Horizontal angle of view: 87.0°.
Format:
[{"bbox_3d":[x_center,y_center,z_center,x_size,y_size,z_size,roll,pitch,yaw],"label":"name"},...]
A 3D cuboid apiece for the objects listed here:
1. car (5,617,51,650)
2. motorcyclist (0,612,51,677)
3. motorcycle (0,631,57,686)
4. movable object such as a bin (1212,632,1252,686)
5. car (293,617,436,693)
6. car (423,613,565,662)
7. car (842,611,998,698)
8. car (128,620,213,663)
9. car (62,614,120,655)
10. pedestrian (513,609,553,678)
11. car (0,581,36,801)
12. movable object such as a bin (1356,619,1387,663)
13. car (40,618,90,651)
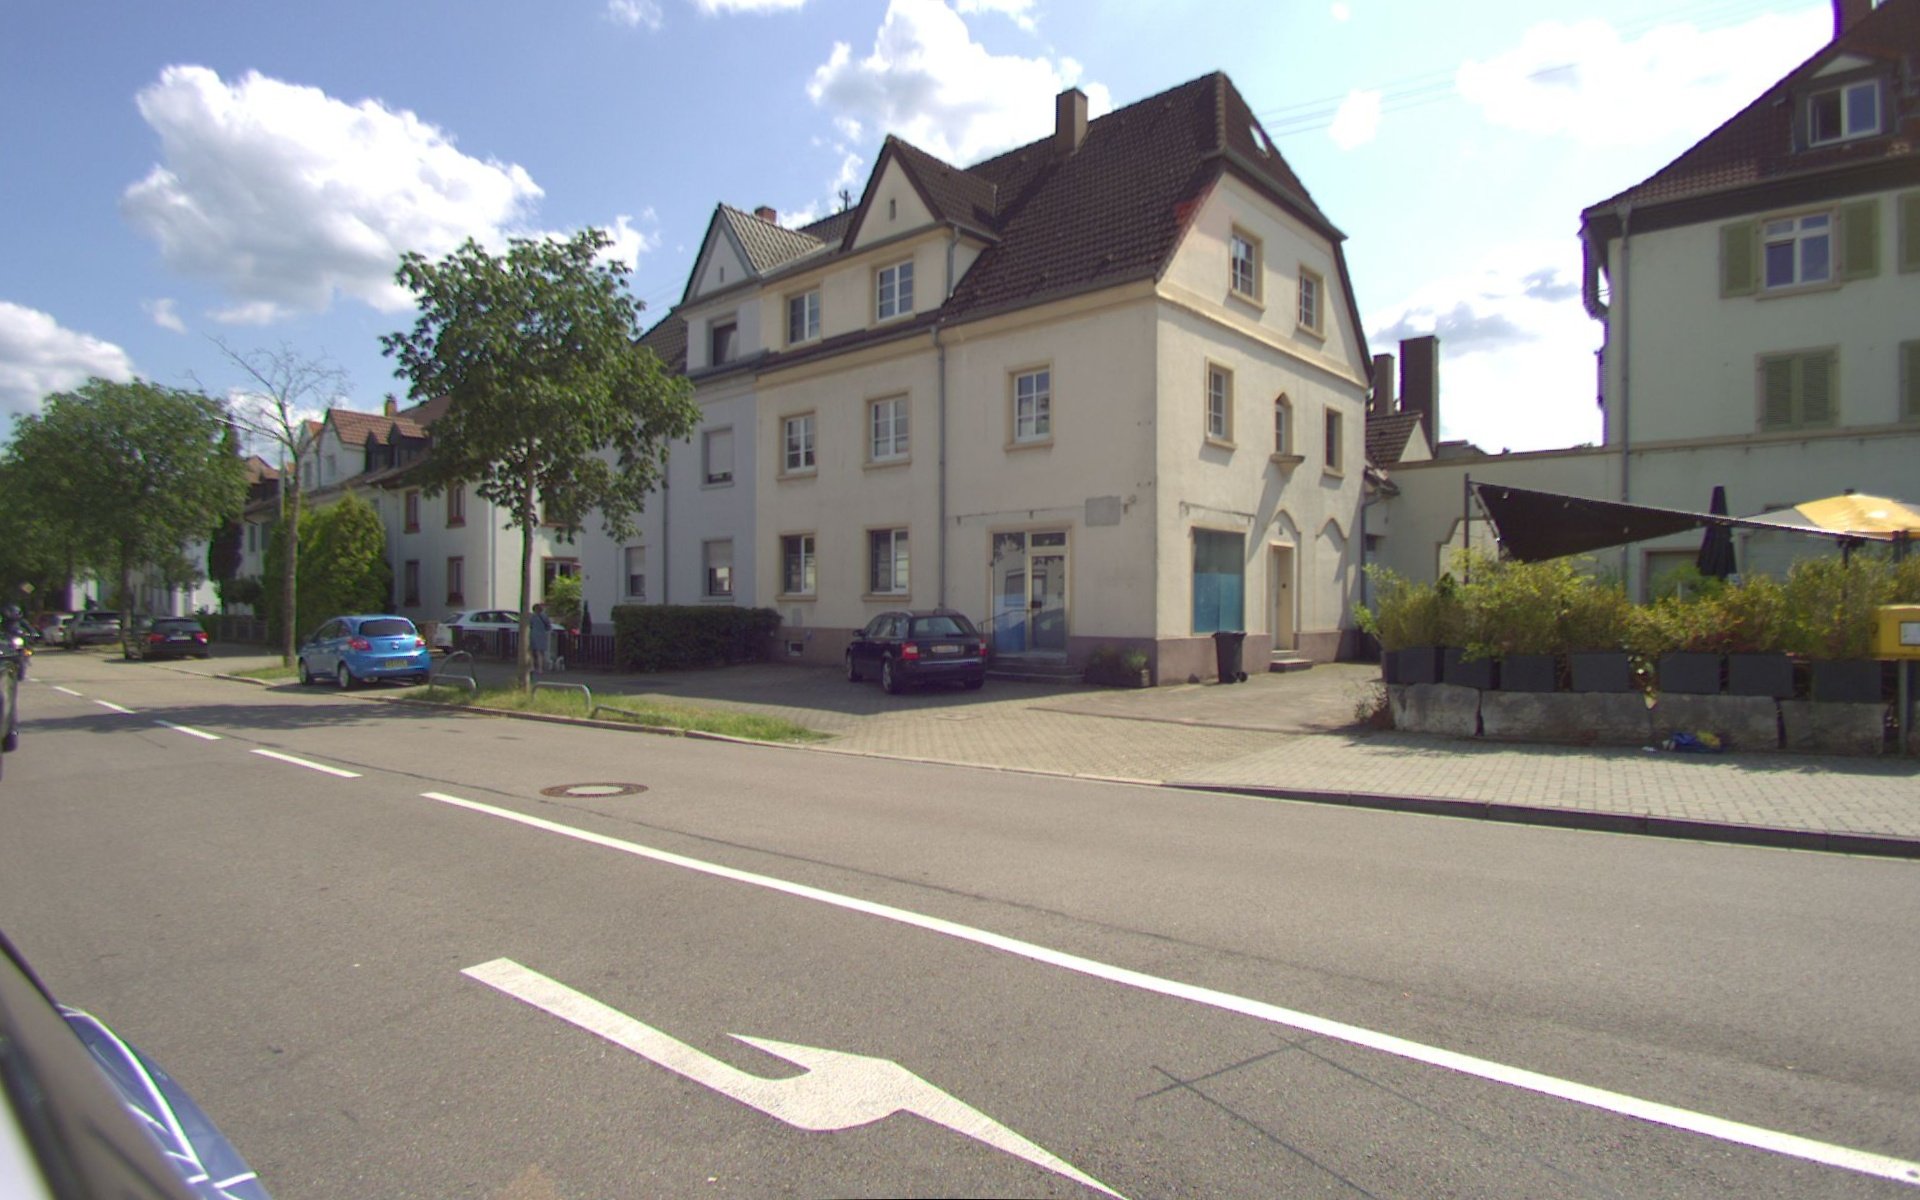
[{"bbox_3d":[-47.848,1.693,51.938,3.252,1.667,1.541,-1,-2,45],"label":"car"},{"bbox_3d":[-21.127,1.008,22.751,1.098,1.409,0.815,-4,-2,38],"label":"motorcyclist"},{"bbox_3d":[-21.128,1.285,22.734,2.355,1.136,0.833,-1,-1,38],"label":"motorcycle"},{"bbox_3d":[5.120,1.104,19.033,0.510,0.979,0.607,-1,-2,41],"label":"movable object such as a bin"},{"bbox_3d":[-12.510,1.098,21.219,3.153,1.473,1.687,-1,-1,41],"label":"car"},{"bbox_3d":[-14.839,1.161,32.340,1.711,1.465,3.753,-1,-1,44],"label":"car"},{"bbox_3d":[-0.862,0.918,18.540,1.732,1.397,4.115,0,-1,-19],"label":"car"},{"bbox_3d":[-25.833,1.324,33.074,3.919,1.306,1.686,-1,-1,45],"label":"car"},{"bbox_3d":[-36.304,1.415,42.275,3.575,1.667,1.541,-1,-2,45],"label":"car"},{"bbox_3d":[-9.827,0.994,23.308,0.617,1.547,0.624,-1,-1,39],"label":"pedestrian"},{"bbox_3d":[-10.036,0.767,9.332,4.873,1.777,1.753,-1,-1,42],"label":"car"},{"bbox_3d":[9.997,0.995,24.573,0.510,1.053,0.607,-1,-2,41],"label":"movable object such as a bin"},{"bbox_3d":[-40.869,1.561,46.199,1.601,1.436,3.004,0,-1,-43],"label":"car"}]
